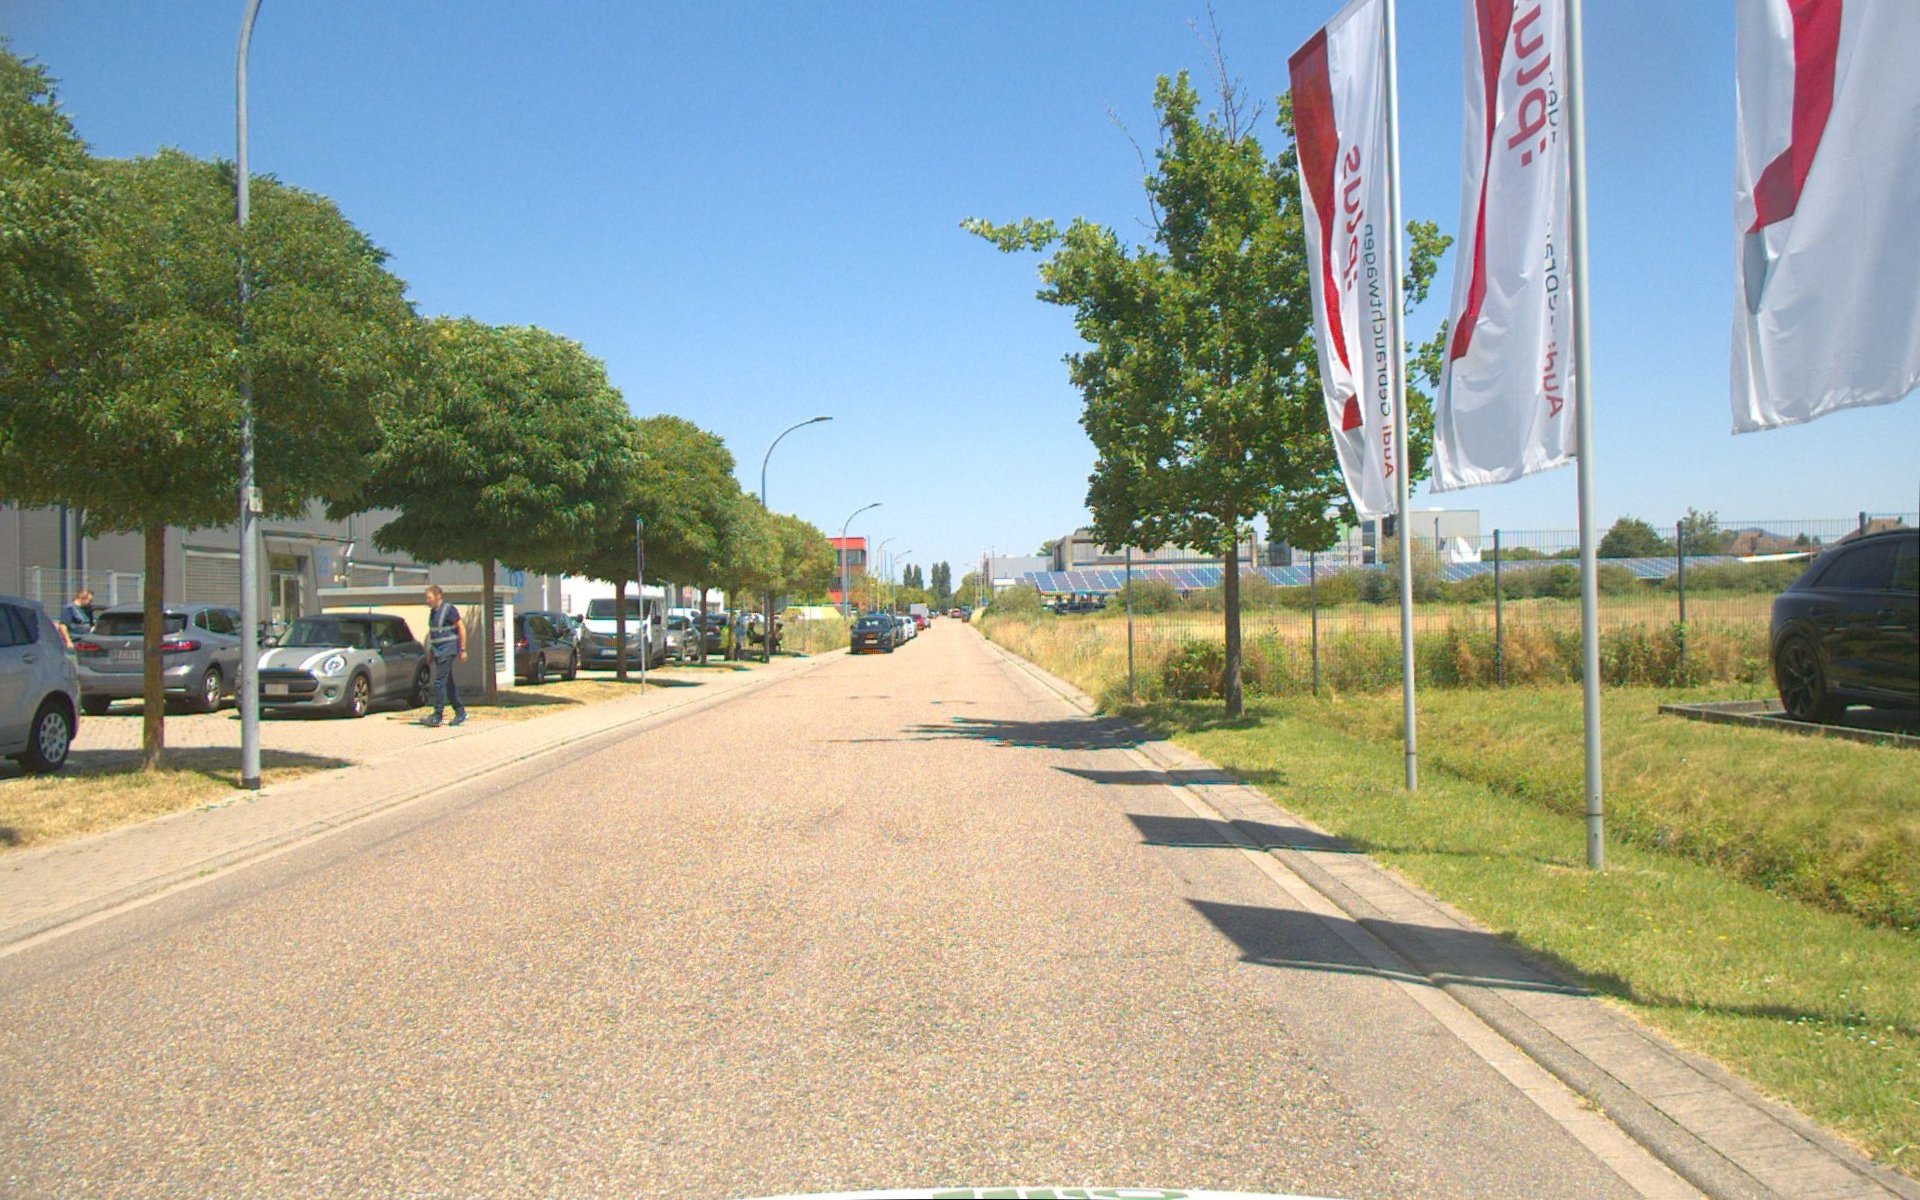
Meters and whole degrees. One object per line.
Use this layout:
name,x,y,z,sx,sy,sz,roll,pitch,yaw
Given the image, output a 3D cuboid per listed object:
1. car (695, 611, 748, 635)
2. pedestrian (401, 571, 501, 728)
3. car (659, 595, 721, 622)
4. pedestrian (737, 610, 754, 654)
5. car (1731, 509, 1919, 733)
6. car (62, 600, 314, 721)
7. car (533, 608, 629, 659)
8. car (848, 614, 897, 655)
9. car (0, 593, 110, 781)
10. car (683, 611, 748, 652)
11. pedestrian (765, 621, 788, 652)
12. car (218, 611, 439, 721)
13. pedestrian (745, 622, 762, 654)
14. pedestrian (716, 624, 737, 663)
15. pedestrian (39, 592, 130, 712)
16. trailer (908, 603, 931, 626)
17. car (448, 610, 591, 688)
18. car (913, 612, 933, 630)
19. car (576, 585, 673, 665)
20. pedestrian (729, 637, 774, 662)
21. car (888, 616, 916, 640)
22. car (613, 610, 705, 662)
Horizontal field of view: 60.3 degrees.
car,-21.594,2.083,150.130,4.436,1.977,2.031,-2,-1,0
pedestrian,-6.705,0.640,21.792,0.827,2.007,0.960,0,-1,39
car,-21.246,0.684,130.254,4.436,1.977,2.031,-2,-1,0
pedestrian,-8.008,1.179,61.806,0.495,1.623,0.753,1,-1,2
car,8.383,0.114,13.299,1.983,1.722,5.108,-3,0,1
car,-11.423,0.837,24.834,1.699,1.656,4.348,0,0,1
car,-11.677,1.001,51.204,1.887,1.490,4.465,1,0,0
car,-3.650,1.414,69.748,1.888,1.595,4.188,-2,0,-2
car,-9.037,0.733,13.598,1.729,1.601,4.539,0,0,0
car,-9.377,1.187,63.687,1.888,1.490,4.690,1,0,-2
pedestrian,-6.890,1.358,62.043,0.735,1.118,0.647,1,-1,3
car,-9.169,0.913,24.349,1.729,1.479,3.840,0,0,1
pedestrian,-7.897,1.436,63.243,0.495,1.212,0.753,1,-1,2
pedestrian,-7.289,1.362,51.632,0.468,1.170,0.555,1,-3,9
pedestrian,-12.981,0.763,24.550,0.823,1.743,0.964,0,-1,-1
trailer,-3.986,1.451,163.742,2.156,2.175,4.285,-2,-1,0
car,-9.122,0.968,34.648,1.729,1.479,4.713,-1,0,0
car,-3.383,1.928,152.598,1.750,1.547,3.982,-2,-1,0
car,-9.150,0.665,45.443,1.800,2.054,5.123,-1,0,-2
pedestrian,-6.696,1.583,53.127,1.330,0.762,0.753,2,-1,2
car,-3.952,1.913,112.809,1.750,1.547,3.982,-2,0,0
car,-9.220,1.122,50.979,1.887,1.466,4.841,-2,-2,0
